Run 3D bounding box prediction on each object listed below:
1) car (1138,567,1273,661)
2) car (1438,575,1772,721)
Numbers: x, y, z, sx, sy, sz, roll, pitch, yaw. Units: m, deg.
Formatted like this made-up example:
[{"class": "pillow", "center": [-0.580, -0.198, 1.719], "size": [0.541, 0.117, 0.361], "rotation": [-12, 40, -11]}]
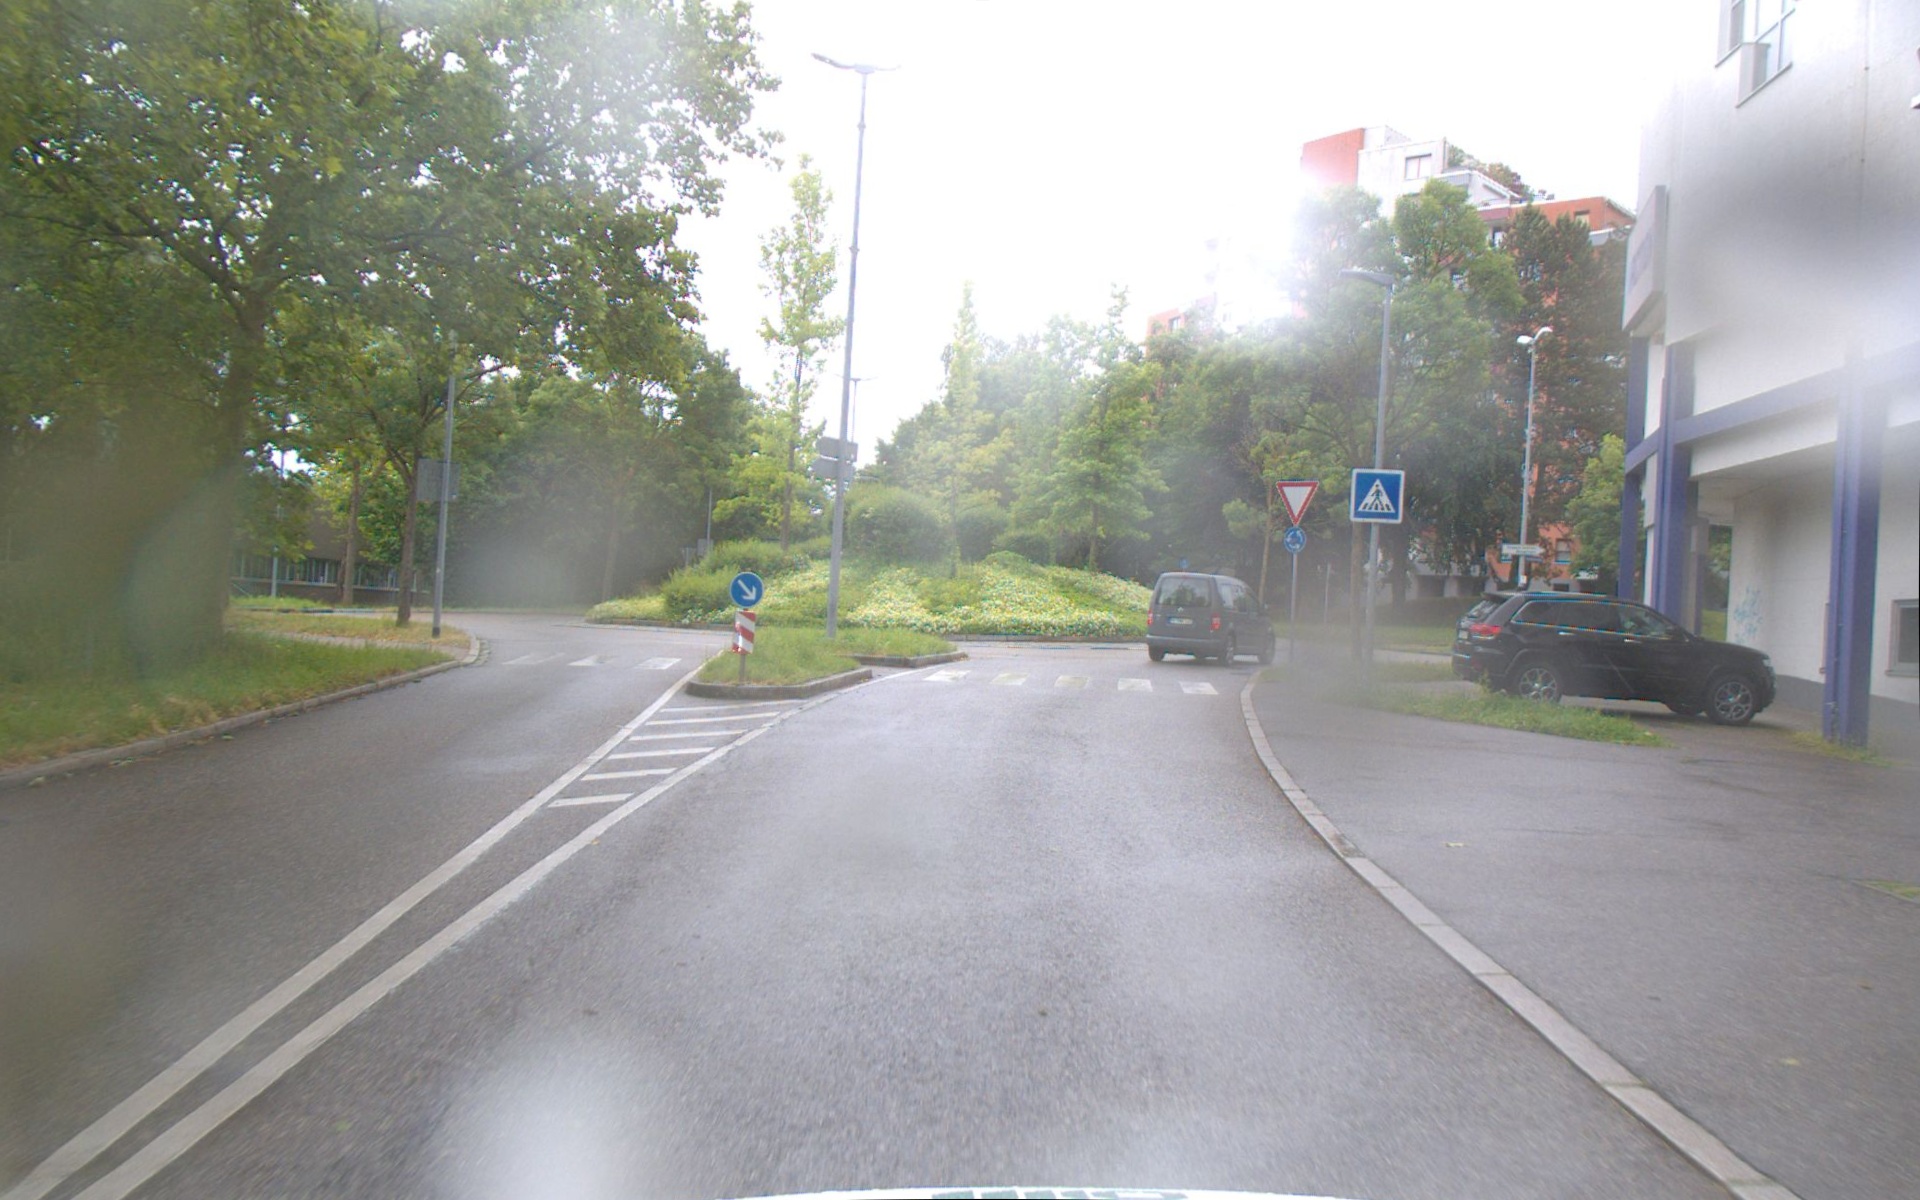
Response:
[{"class": "car", "center": [5.256, 0.274, 34.980], "size": [1.880, 1.833, 3.788], "rotation": [1, 0, 23]}, {"class": "car", "center": [9.725, 0.688, 25.198], "size": [4.287, 1.789, 1.830], "rotation": [4, 2, 2]}]
